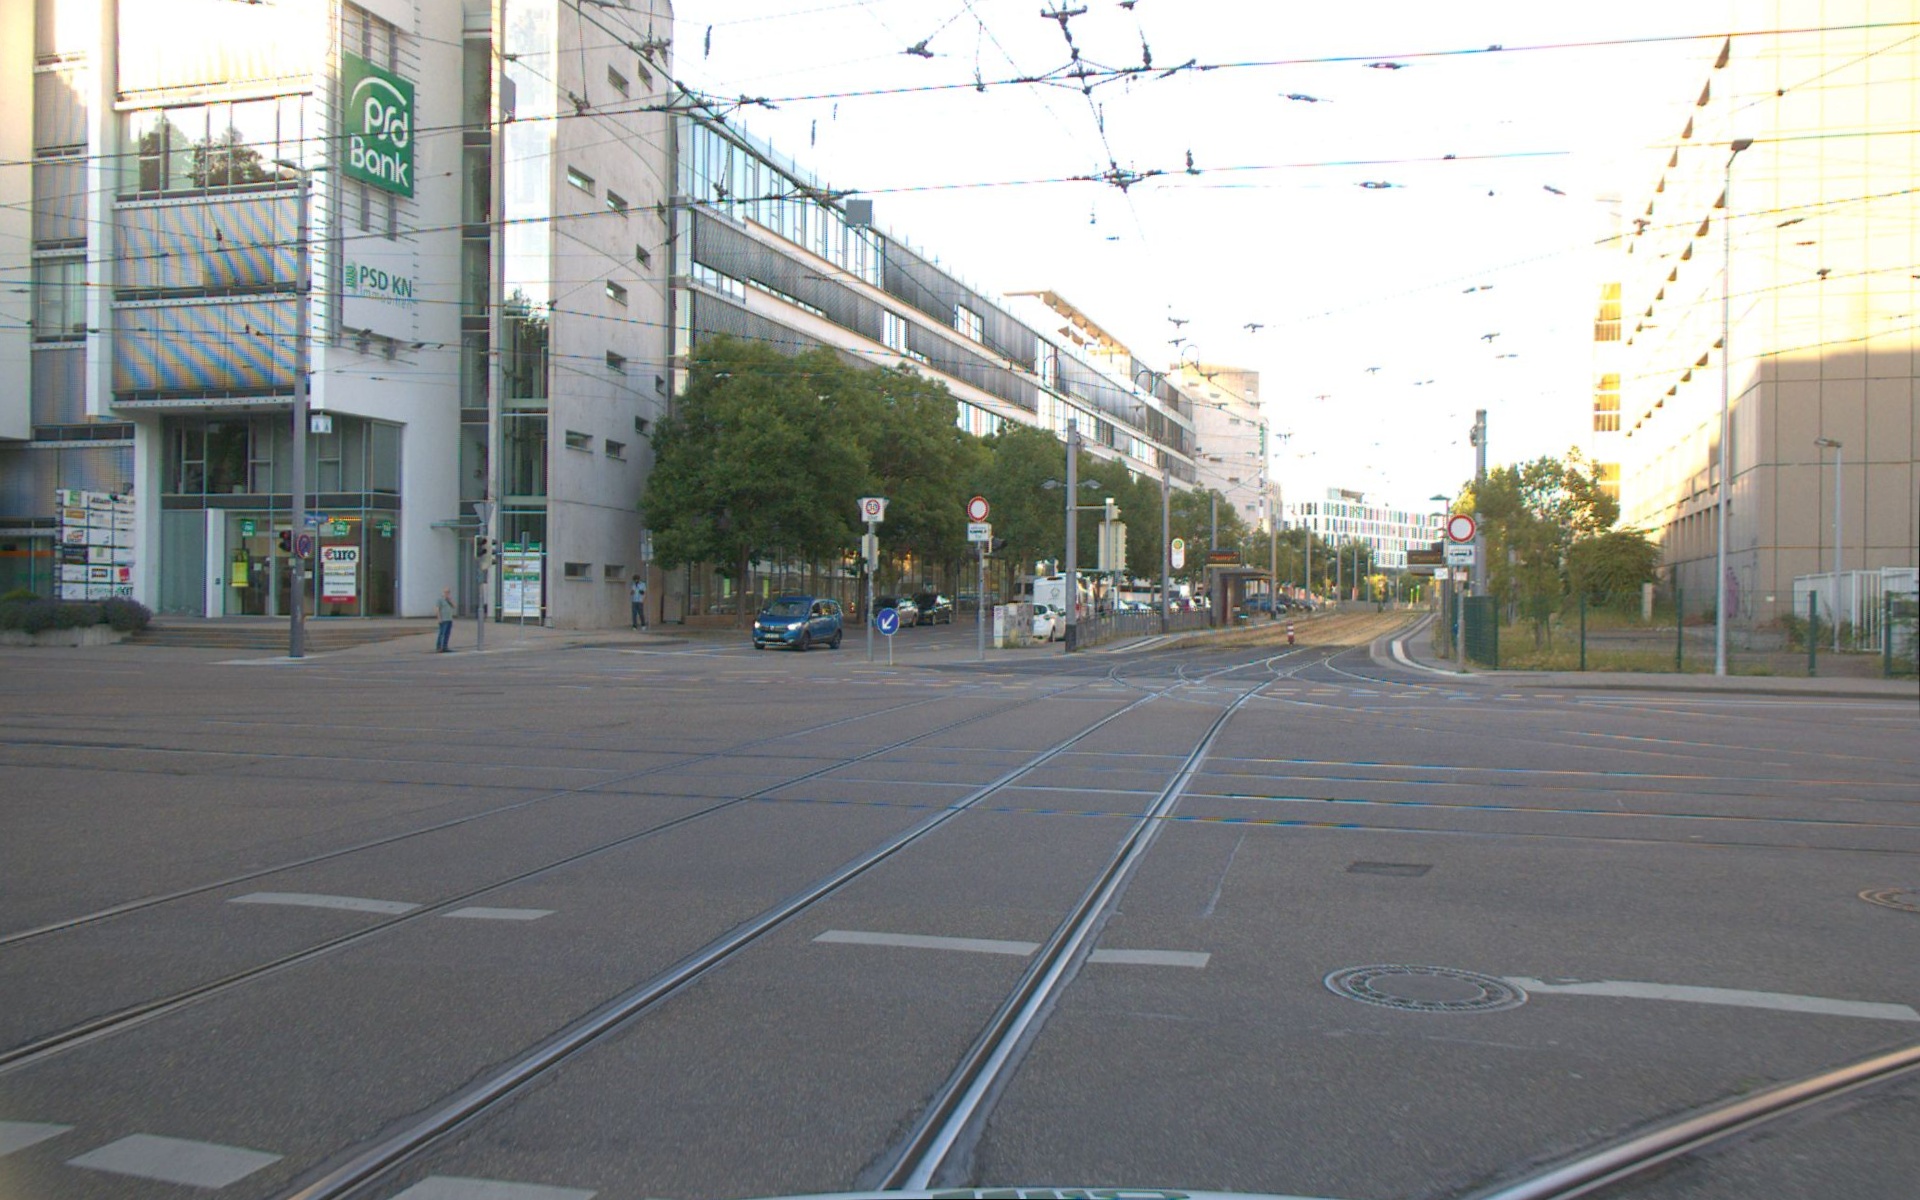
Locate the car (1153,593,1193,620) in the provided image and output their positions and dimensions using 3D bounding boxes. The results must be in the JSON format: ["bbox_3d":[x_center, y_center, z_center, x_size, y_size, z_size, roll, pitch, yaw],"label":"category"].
[{"bbox_3d":[12.207,0.356,94.565,1.647,1.464,4.128,0,0,17],"label":"car"}]

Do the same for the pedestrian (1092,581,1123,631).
[{"bbox_3d":[6.088,0.242,68.343,1.021,2.066,0.982,0,0,-11],"label":"pedestrian"}]

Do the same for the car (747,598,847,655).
[{"bbox_3d":[-5.227,0.815,53.630,1.647,1.729,4.241,0,0,18],"label":"car"}]

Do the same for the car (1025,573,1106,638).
[{"bbox_3d":[4.410,0.202,67.946,2.408,2.526,5.813,0,0,13],"label":"car"}]

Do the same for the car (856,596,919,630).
[{"bbox_3d":[-3.401,0.604,78.145,1.647,1.528,4.241,0,0,17],"label":"car"}]

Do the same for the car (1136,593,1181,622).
[{"bbox_3d":[10.404,0.357,86.480,1.647,1.464,4.128,0,0,17],"label":"car"}]

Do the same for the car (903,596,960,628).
[{"bbox_3d":[-1.424,0.590,83.760,1.647,1.528,4.241,0,0,17],"label":"car"}]

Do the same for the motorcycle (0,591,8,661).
[{"bbox_3d":[-18.421,0.459,29.773,2.431,1.261,0.831,0,0,19],"label":"motorcycle"}]

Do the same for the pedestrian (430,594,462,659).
[{"bbox_3d":[-13.990,0.716,45.012,0.536,1.741,0.659,0,0,27],"label":"pedestrian"}]

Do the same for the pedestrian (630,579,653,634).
[{"bbox_3d":[-11.260,0.225,58.514,0.648,1.956,0.548,0,0,6],"label":"pedestrian"}]

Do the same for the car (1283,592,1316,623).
[{"bbox_3d":[23.411,0.484,113.907,1.951,2.049,4.003,0,0,15],"label":"car"}]

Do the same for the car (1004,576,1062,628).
[{"bbox_3d":[4.685,0.092,105.289,2.155,3.207,6.146,0,0,17],"label":"car"}]

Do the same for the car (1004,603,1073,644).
[{"bbox_3d":[2.989,0.852,62.143,1.647,1.464,4.128,0,0,17],"label":"car"}]
